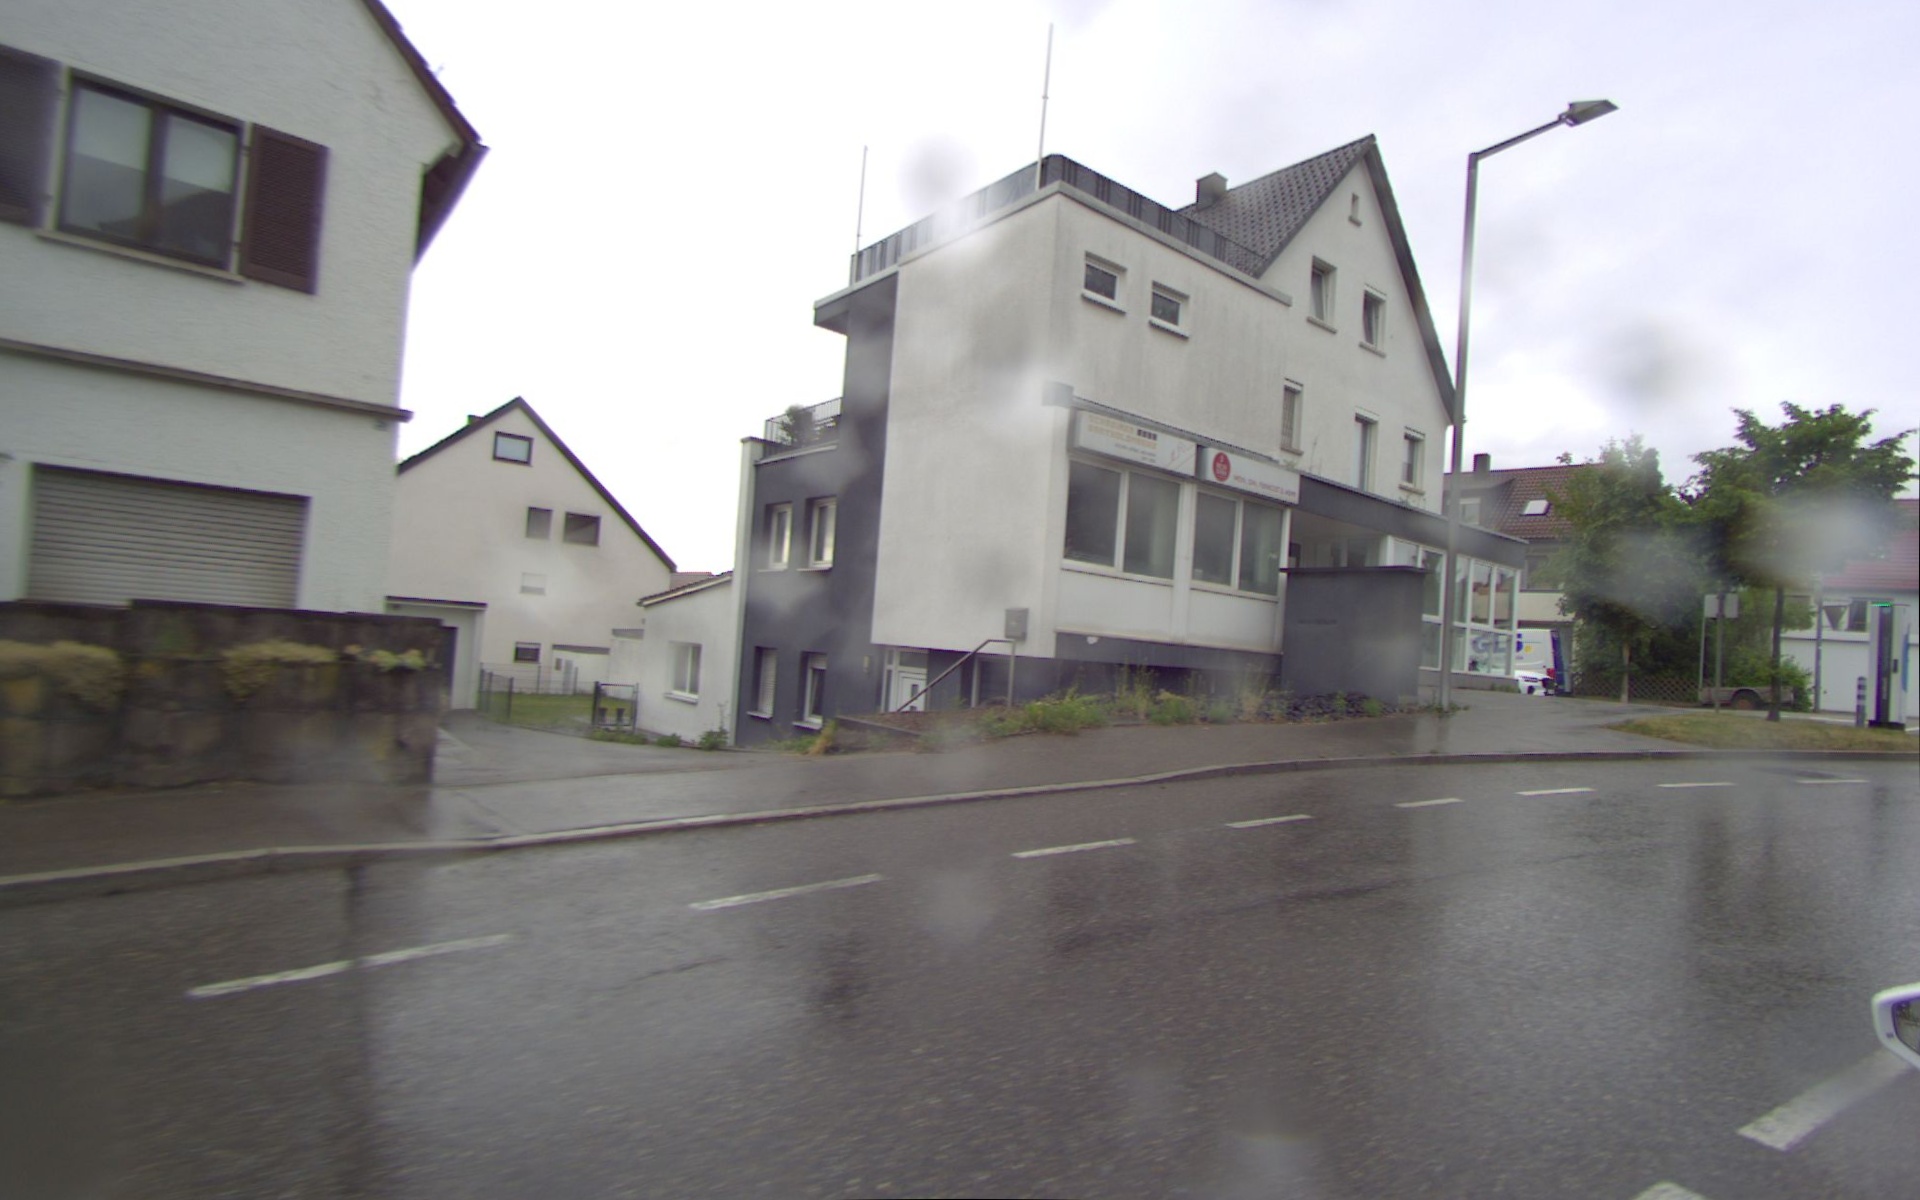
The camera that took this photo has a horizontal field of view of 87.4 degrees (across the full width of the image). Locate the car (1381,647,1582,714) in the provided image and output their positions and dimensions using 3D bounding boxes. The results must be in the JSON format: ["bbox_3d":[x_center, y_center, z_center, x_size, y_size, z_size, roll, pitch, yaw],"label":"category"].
[{"bbox_3d":[14.933,2.263,28.986,2.051,1.728,4.739,4,-4,-40],"label":"car"}]

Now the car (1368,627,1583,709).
[{"bbox_3d":[17.451,2.259,34.291,2.177,2.556,6.173,4,-4,-43],"label":"car"}]

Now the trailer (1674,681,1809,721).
[{"bbox_3d":[22.687,2.904,29.222,1.579,1.020,2.793,3,-4,-38],"label":"trailer"}]
